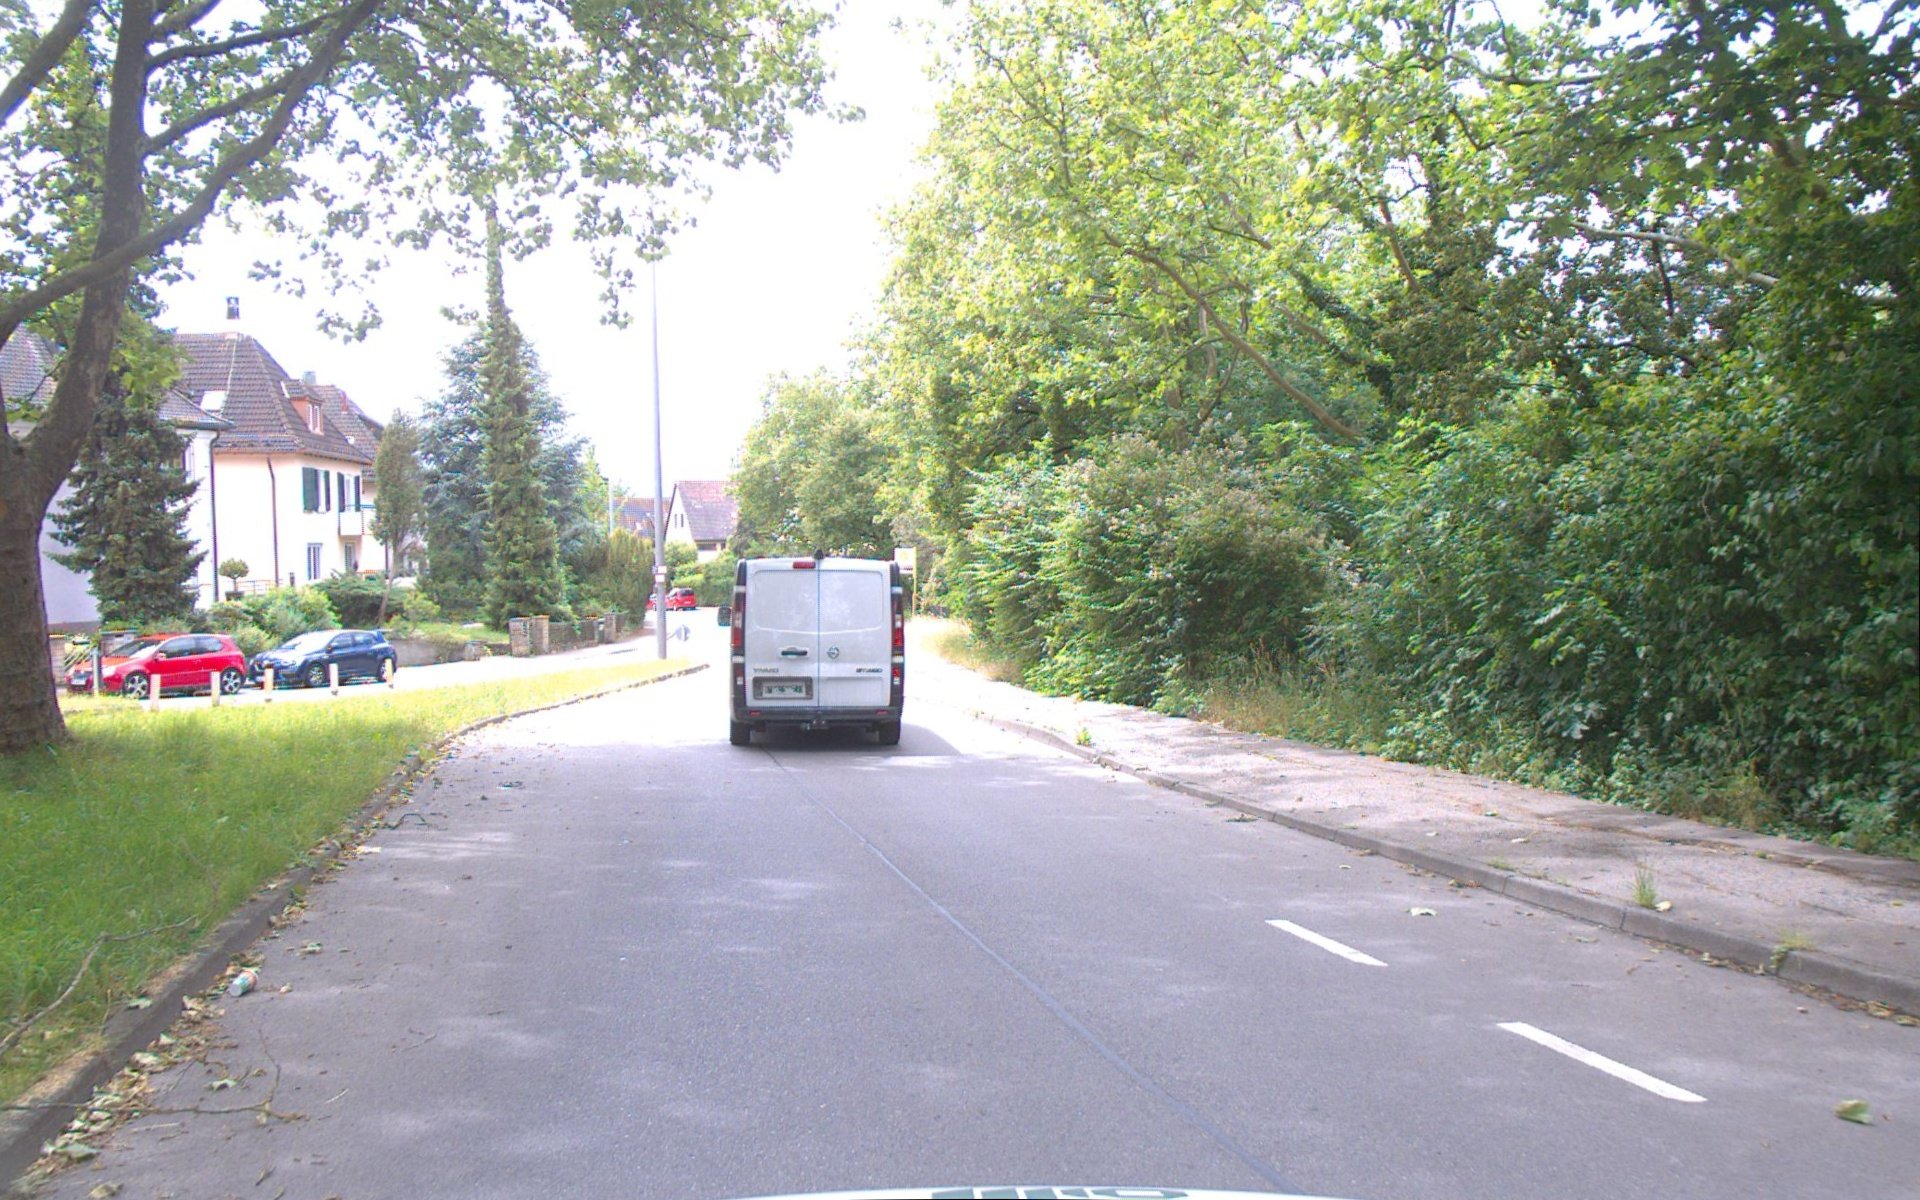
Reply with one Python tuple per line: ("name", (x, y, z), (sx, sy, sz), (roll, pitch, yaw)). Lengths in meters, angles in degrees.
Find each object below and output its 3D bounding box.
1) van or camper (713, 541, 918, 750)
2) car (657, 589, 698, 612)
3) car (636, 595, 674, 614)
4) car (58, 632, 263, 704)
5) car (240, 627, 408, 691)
("van or camper", (-1.791, 0.366, 18.988), (1.889, 2.048, 4.818), (-1, 2, -11))
("car", (-22.686, 0.031, 132.771), (1.741, 1.828, 4.902), (-2, 1, -28))
("car", (-25.356, 0.330, 137.461), (1.696, 1.493, 4.221), (-2, 1, -32))
("car", (-19.011, 1.577, 39.505), (1.693, 1.499, 4.275), (-1, 0, 26))
("car", (-16.800, 1.534, 43.914), (1.691, 1.499, 4.315), (-1, 0, 21))
